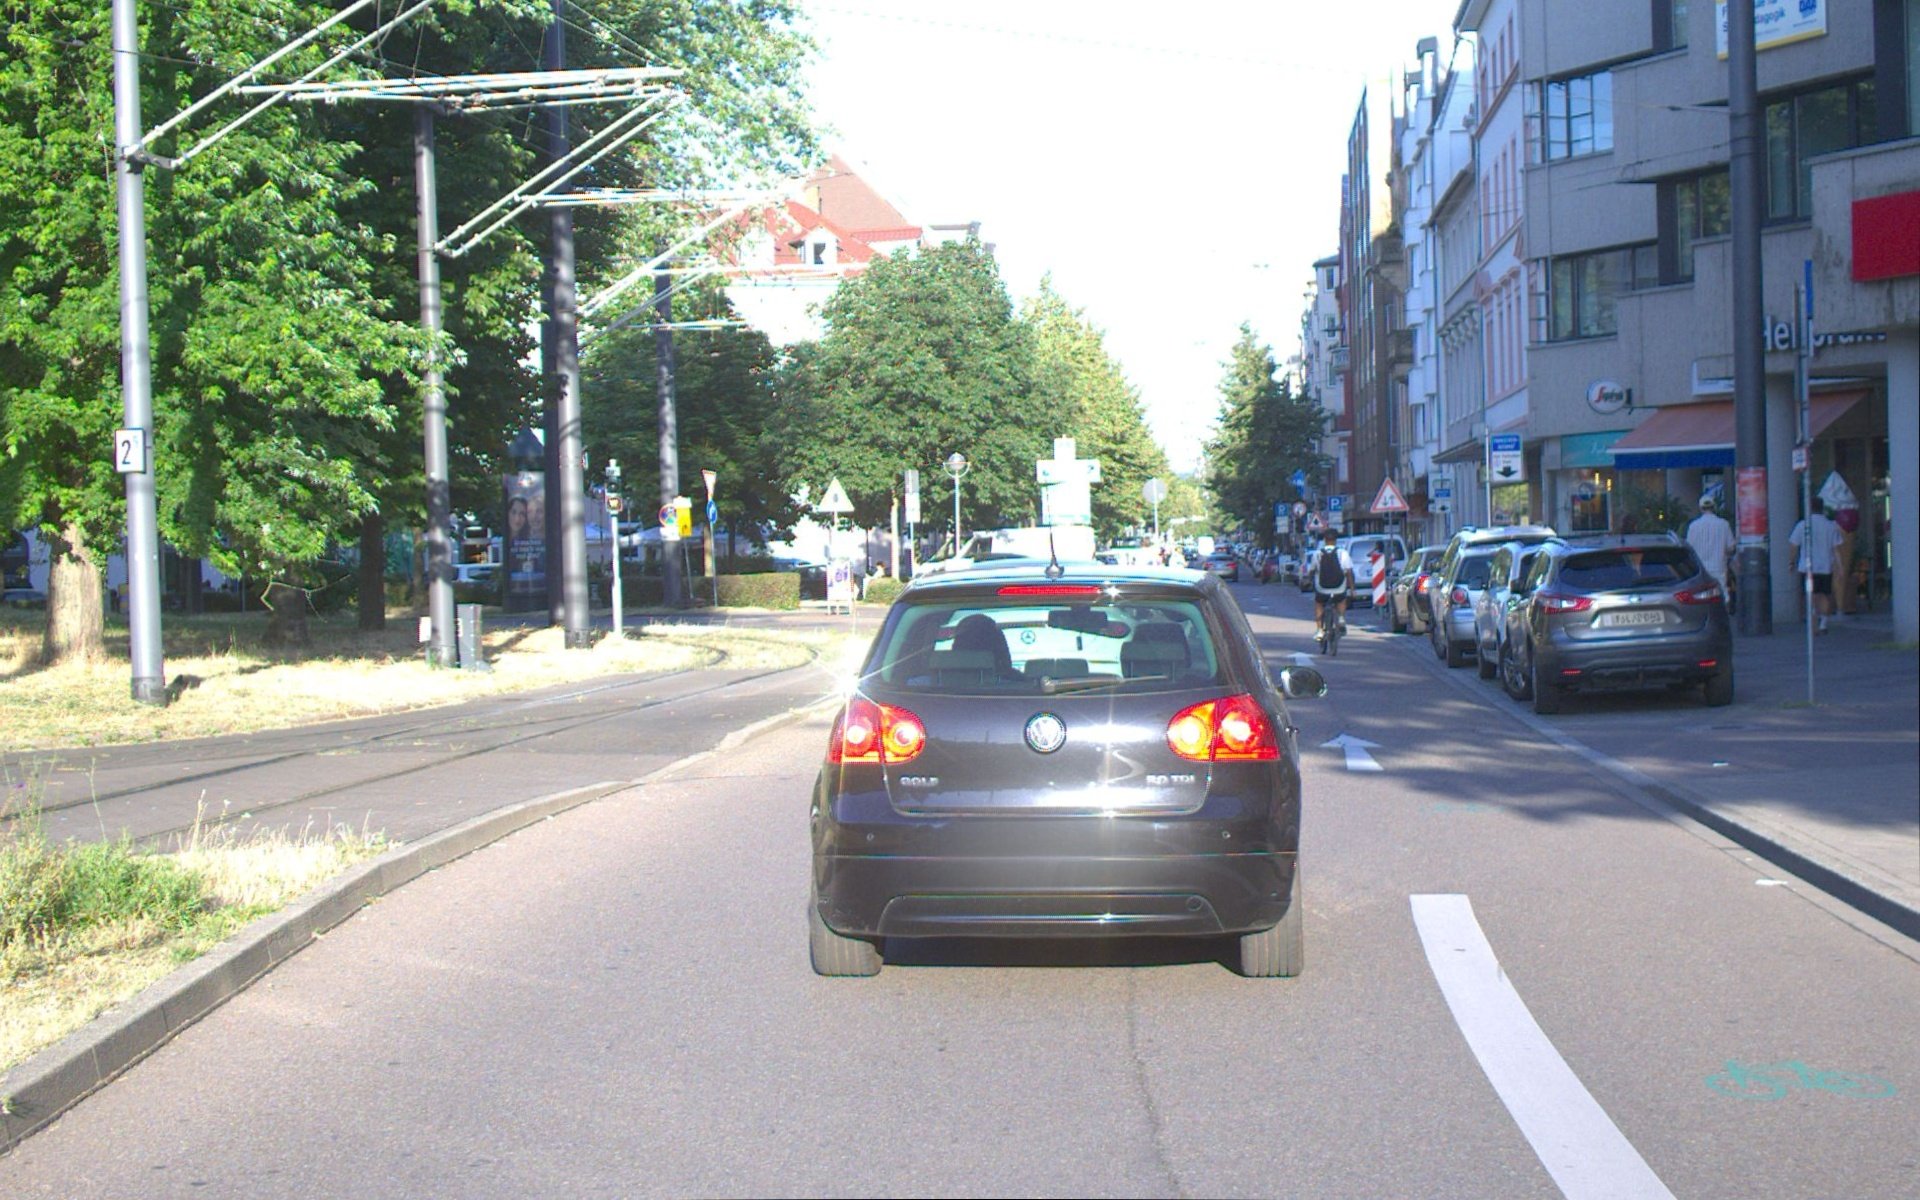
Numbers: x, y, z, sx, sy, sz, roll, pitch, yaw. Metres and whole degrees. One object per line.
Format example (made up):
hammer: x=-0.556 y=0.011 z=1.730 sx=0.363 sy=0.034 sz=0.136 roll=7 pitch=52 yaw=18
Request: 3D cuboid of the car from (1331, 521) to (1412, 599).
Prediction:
car: x=10.143 y=-0.985 z=84.931 sx=1.735 sy=1.794 sz=3.916 roll=-2 pitch=0 yaw=4

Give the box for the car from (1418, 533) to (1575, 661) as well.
car: x=6.698 y=-0.068 z=43.226 sx=1.662 sy=1.436 sz=3.854 roll=-3 pitch=1 yaw=6

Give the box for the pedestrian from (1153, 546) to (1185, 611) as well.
pedestrian: x=5.017 y=-0.518 z=82.520 sx=0.736 sy=1.549 sz=0.632 roll=-1 pitch=0 yaw=1

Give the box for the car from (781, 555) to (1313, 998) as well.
car: x=0.427 y=0.563 z=13.441 sx=1.748 sy=1.456 sz=4.103 roll=-1 pitch=1 yaw=4

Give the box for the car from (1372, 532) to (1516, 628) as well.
car: x=7.938 y=-0.333 z=56.642 sx=1.662 sy=1.436 sz=3.823 roll=-3 pitch=1 yaw=-1

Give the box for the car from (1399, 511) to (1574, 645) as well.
car: x=7.445 y=-0.329 z=48.996 sx=1.867 sy=1.708 sz=4.505 roll=-3 pitch=1 yaw=2

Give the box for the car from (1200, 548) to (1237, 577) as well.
car: x=14.114 y=-2.049 z=187.774 sx=1.907 sy=1.546 sz=4.000 roll=-1 pitch=1 yaw=4

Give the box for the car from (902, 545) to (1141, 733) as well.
car: x=0.563 y=0.279 z=29.231 sx=1.865 sy=1.436 sz=4.197 roll=-1 pitch=1 yaw=2

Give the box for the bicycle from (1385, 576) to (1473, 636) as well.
bicycle: x=9.426 y=0.124 z=69.089 sx=1.605 sy=1.115 sz=0.611 roll=-3 pitch=1 yaw=38

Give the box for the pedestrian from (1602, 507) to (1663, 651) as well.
pedestrian: x=8.414 y=-0.263 z=43.008 sx=0.579 sy=1.754 sz=0.661 roll=-4 pitch=0 yaw=5

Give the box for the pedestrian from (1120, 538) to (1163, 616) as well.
pedestrian: x=3.985 y=-0.508 z=75.658 sx=0.859 sy=1.700 sz=0.941 roll=0 pitch=0 yaw=-2

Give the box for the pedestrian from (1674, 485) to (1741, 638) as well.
pedestrian: x=9.283 y=-0.478 z=42.704 sx=0.622 sy=1.851 sz=0.661 roll=-4 pitch=0 yaw=5

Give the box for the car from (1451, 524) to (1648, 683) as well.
car: x=6.355 y=0.015 z=37.344 sx=1.607 sy=1.551 sz=3.610 roll=-3 pitch=1 yaw=3

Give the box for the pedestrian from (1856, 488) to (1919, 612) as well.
pedestrian: x=13.176 y=-0.711 z=48.777 sx=0.697 sy=1.721 sz=1.032 roll=-2 pitch=1 yaw=5

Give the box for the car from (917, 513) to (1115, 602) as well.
car: x=1.686 y=-1.270 z=103.285 sx=5.510 sy=2.586 sz=2.155 roll=-1 pitch=0 yaw=-22

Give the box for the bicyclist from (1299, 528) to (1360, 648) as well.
bicyclist: x=5.030 y=-0.169 z=46.813 sx=0.777 sy=1.613 sz=1.025 roll=0 pitch=0 yaw=4

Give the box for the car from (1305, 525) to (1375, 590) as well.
car: x=11.322 y=-1.265 z=102.739 sx=1.925 sy=1.835 sz=4.017 roll=-2 pitch=0 yaw=5

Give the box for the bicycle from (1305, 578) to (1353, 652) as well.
bicycle: x=5.015 y=0.189 z=46.807 sx=0.579 sy=0.984 sz=1.935 roll=0 pitch=1 yaw=4

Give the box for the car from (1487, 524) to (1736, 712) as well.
car: x=6.074 y=0.128 z=32.448 sx=1.782 sy=1.551 sz=4.234 roll=-3 pitch=1 yaw=5

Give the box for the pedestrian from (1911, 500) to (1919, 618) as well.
pedestrian: x=14.068 y=-0.600 z=48.723 sx=0.989 sy=1.667 sz=0.641 roll=-2 pitch=1 yaw=5

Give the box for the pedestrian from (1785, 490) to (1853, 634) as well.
pedestrian: x=10.689 y=-0.471 z=42.785 sx=0.622 sy=1.734 sz=0.661 roll=-4 pitch=0 yaw=5
